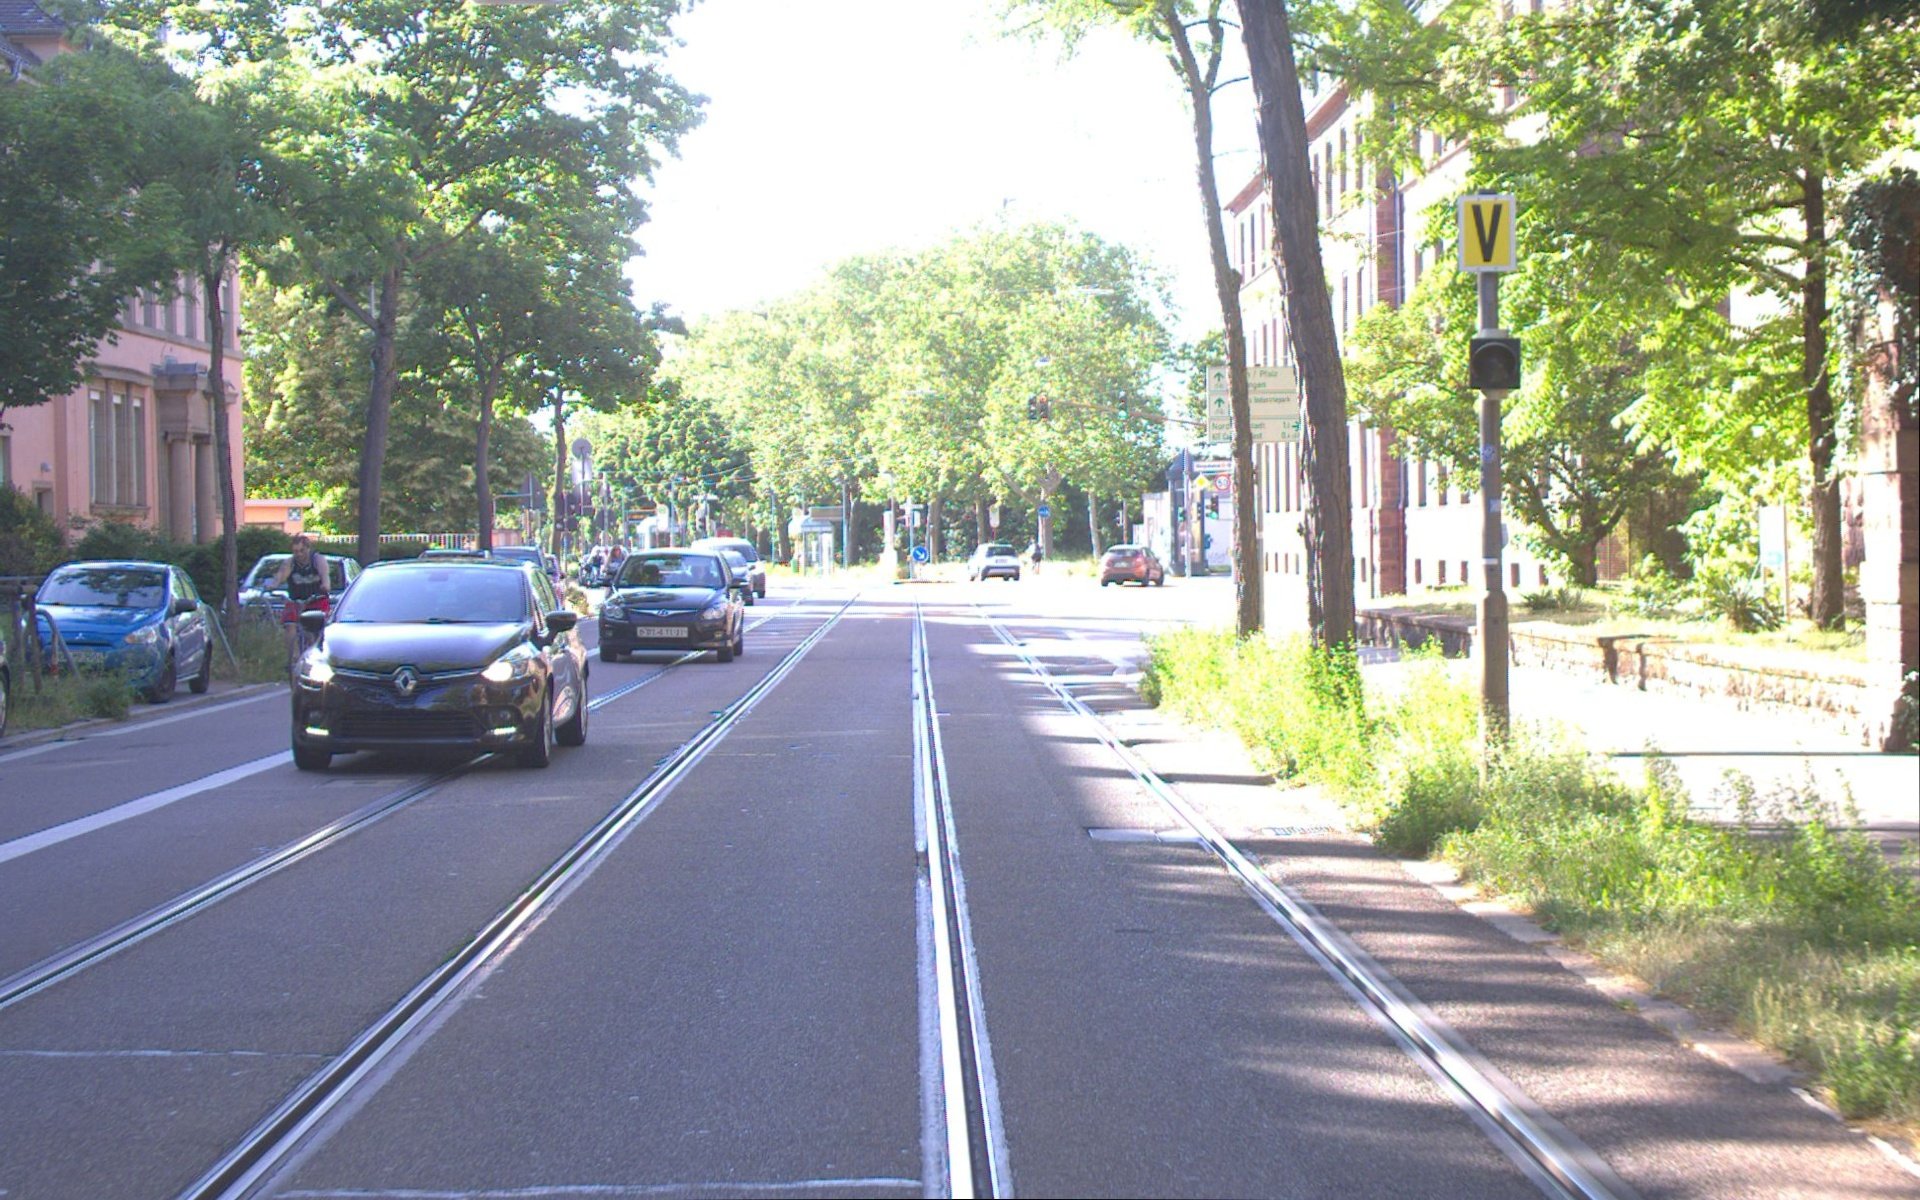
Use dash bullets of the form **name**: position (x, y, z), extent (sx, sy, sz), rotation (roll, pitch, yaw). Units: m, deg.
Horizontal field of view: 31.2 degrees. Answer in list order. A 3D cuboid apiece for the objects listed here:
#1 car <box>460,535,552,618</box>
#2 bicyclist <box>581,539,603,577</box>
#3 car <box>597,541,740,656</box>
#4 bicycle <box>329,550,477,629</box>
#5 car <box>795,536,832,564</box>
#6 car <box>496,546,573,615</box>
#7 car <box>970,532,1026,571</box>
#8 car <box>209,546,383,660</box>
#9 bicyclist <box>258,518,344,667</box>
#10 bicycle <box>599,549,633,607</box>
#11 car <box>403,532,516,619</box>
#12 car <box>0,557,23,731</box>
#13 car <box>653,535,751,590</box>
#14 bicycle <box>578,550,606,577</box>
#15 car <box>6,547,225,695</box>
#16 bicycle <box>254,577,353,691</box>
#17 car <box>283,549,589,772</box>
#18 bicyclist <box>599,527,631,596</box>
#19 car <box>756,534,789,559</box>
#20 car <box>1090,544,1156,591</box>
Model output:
- **car**: position (-9.757, -0.535, 74.094), extent (1.745, 1.655, 4.392), rotation (2, 1, -5)
- **bicyclist**: position (-14.956, -1.708, 139.745), extent (0.749, 1.499, 0.964), rotation (-1, 1, -16)
- **car**: position (-3.888, -0.053, 46.338), extent (1.699, 1.466, 4.072), rotation (0, 1, -2)
- **bicycle**: position (-9.073, -0.179, 56.052), extent (2.285, 1.194, 0.559), rotation (2, 2, 6)
- **car**: position (-8.820, -3.016, 207.175), extent (1.942, 1.605, 4.001), rotation (-1, 1, -6)
- **car**: position (-9.779, -0.469, 79.154), extent (1.581, 1.483, 3.613), rotation (2, 1, -5)
- **car**: position (1.622, -2.083, 147.192), extent (1.942, 1.605, 4.001), rotation (-1, 1, -6)
- **car**: position (-9.431, 0.008, 49.138), extent (1.745, 1.485, 4.324), rotation (2, 1, -2)
- **bicyclist**: position (-7.341, -0.089, 38.339), extent (0.709, 1.601, 0.865), rotation (-3, 1, -1)
- **bicycle**: position (-7.435, -0.484, 74.364), extent (0.557, 1.194, 2.292), rotation (-4, 1, -4)
- **car**: position (-9.528, -0.491, 65.663), extent (1.745, 1.564, 4.070), rotation (2, 1, -3)
- **car**: position (-8.982, 0.379, 28.100), extent (1.687, 1.480, 3.760), rotation (2, 1, -2)
- **car**: position (-6.709, -0.989, 89.005), extent (1.809, 1.382, 4.442), rotation (-1, 1, -14)
- **bicycle**: position (-14.970, -1.484, 139.803), extent (0.749, 1.083, 2.178), rotation (-1, 1, -16)
- **car**: position (-9.137, 0.187, 37.435), extent (1.560, 1.452, 3.931), rotation (2, 1, -3)
- **bicycle**: position (-7.311, 0.362, 38.358), extent (0.694, 1.173, 1.913), rotation (-3, 1, -1)
- **car**: position (-3.661, 0.366, 24.621), extent (1.699, 1.434, 4.072), rotation (0, 1, -2)
- **bicyclist**: position (-7.457, -0.837, 74.340), extent (0.557, 1.451, 0.869), rotation (-4, 1, -4)
- **car**: position (-12.173, -3.482, 222.618), extent (1.942, 1.605, 4.001), rotation (-1, 1, -6)
- **car**: position (5.840, -1.166, 122.825), extent (1.840, 1.649, 3.578), rotation (0, 1, 11)
